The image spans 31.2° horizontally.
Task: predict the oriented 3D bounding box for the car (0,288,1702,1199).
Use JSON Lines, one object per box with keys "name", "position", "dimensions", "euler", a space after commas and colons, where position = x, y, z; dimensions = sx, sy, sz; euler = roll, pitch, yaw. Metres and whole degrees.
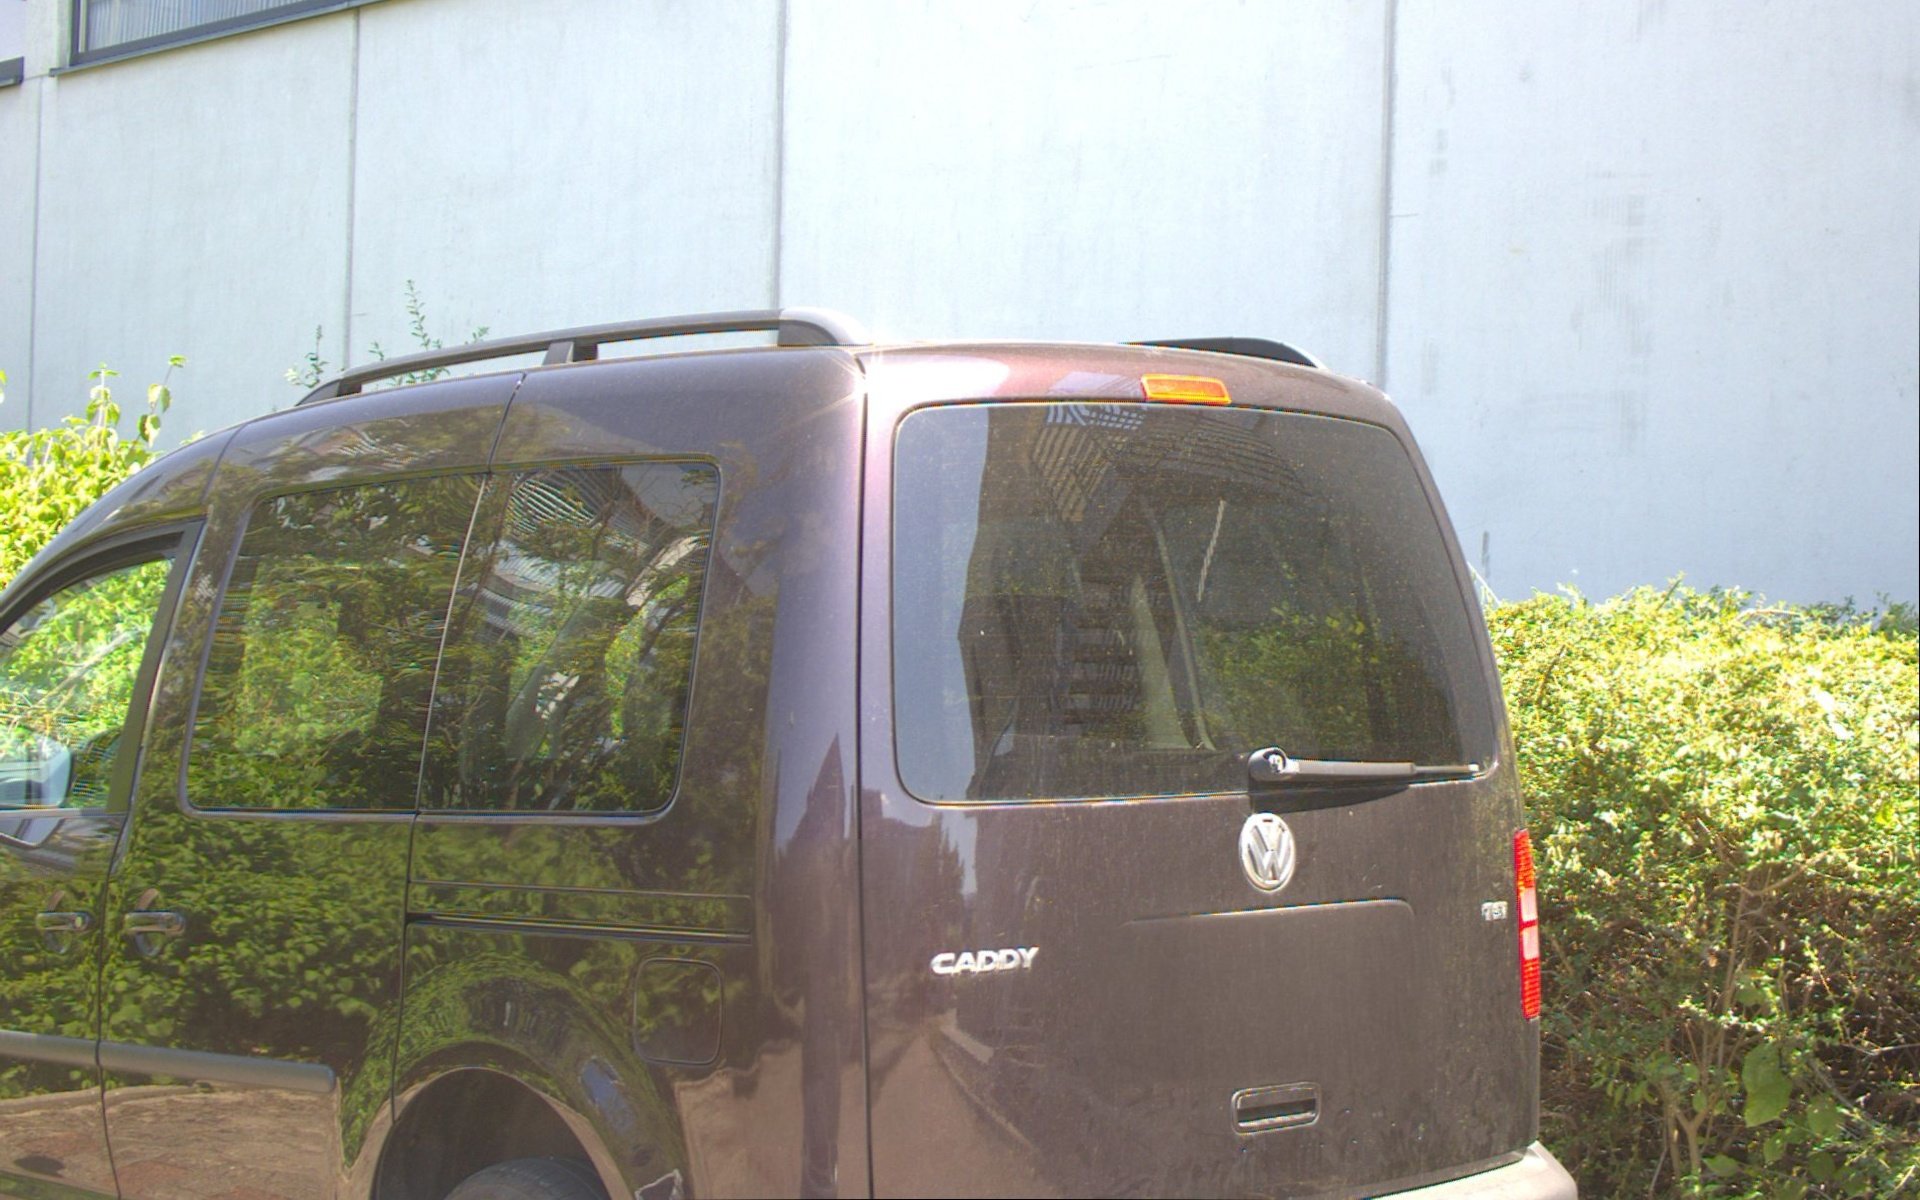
{"name": "car", "position": [-0.820, 0.510, 6.332], "dimensions": [1.744, 1.831, 3.998], "euler": [0, 0, -42]}
